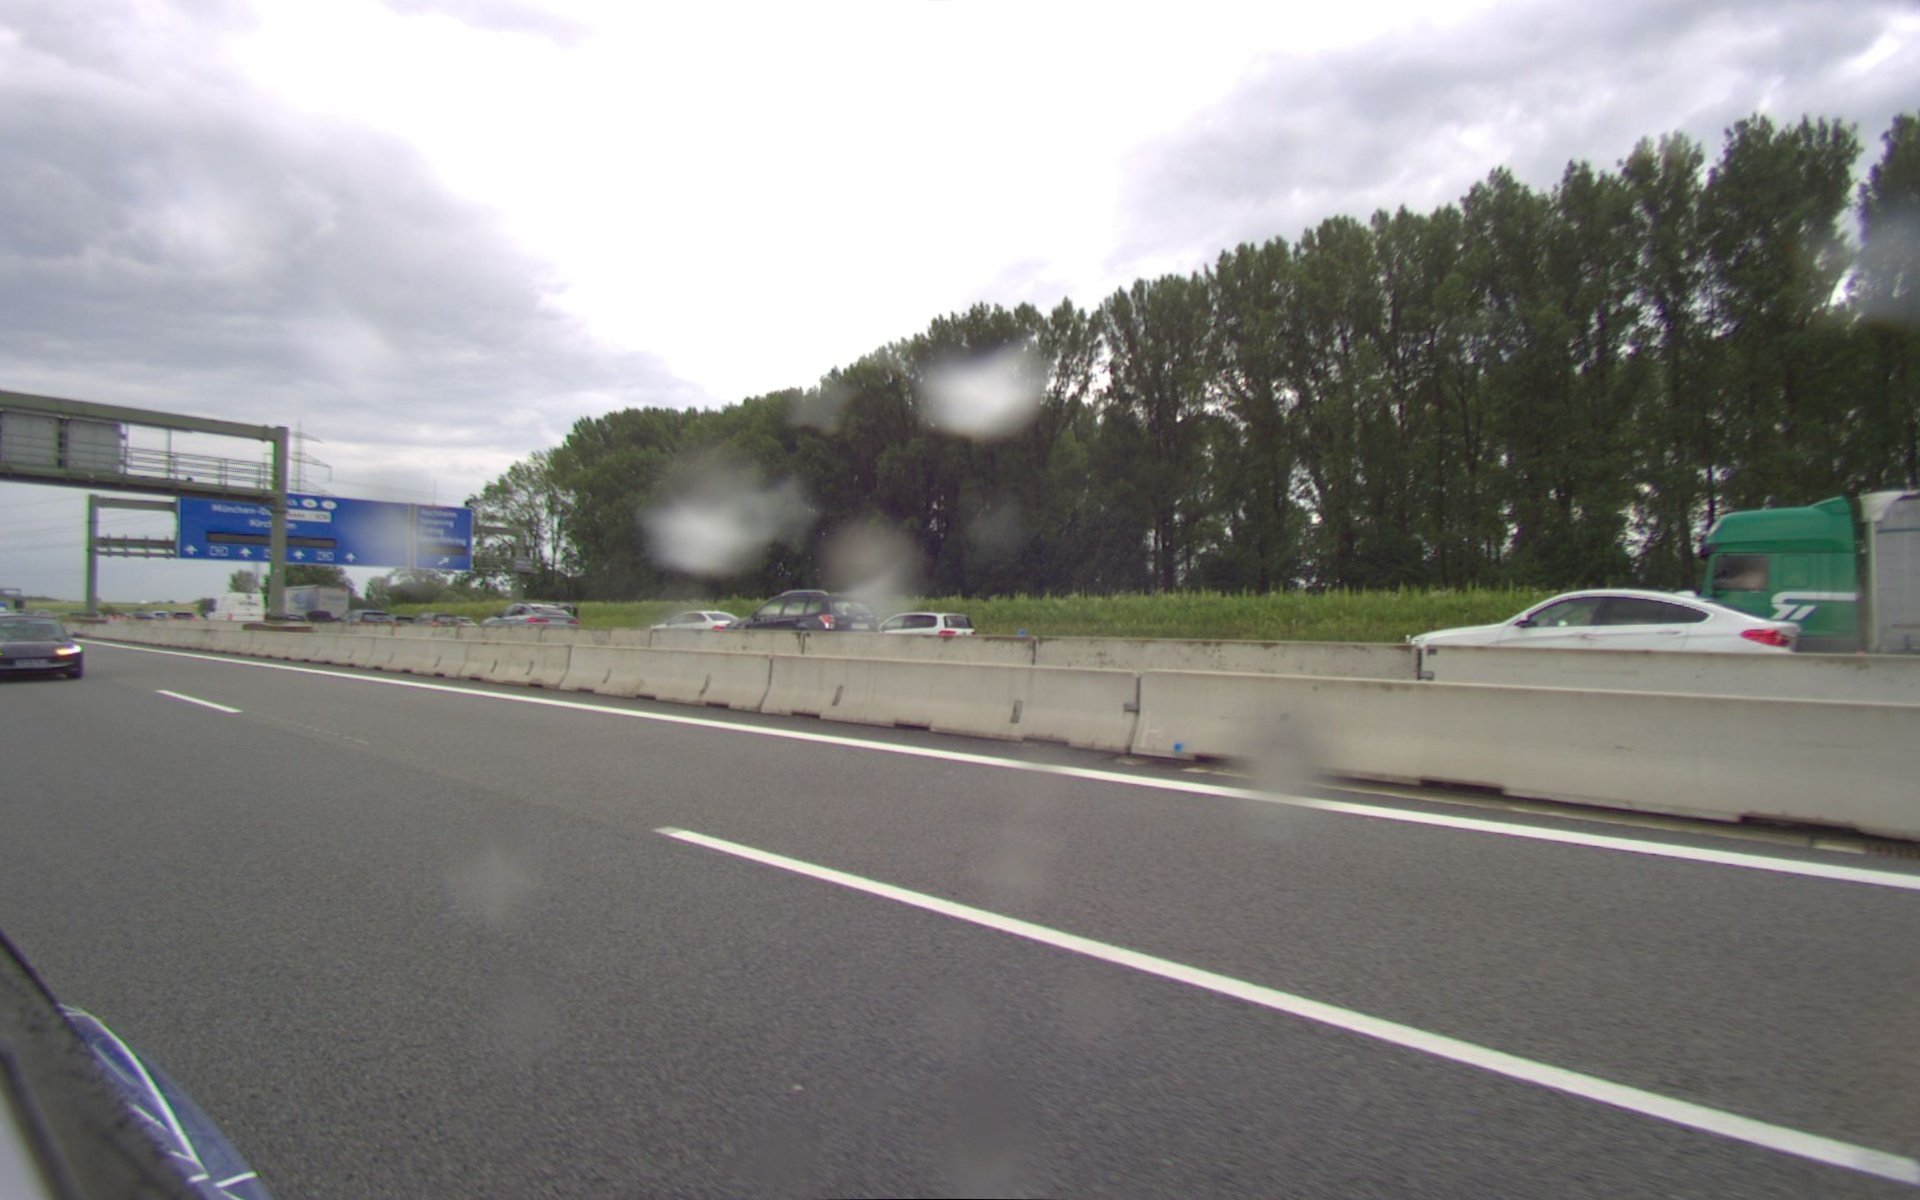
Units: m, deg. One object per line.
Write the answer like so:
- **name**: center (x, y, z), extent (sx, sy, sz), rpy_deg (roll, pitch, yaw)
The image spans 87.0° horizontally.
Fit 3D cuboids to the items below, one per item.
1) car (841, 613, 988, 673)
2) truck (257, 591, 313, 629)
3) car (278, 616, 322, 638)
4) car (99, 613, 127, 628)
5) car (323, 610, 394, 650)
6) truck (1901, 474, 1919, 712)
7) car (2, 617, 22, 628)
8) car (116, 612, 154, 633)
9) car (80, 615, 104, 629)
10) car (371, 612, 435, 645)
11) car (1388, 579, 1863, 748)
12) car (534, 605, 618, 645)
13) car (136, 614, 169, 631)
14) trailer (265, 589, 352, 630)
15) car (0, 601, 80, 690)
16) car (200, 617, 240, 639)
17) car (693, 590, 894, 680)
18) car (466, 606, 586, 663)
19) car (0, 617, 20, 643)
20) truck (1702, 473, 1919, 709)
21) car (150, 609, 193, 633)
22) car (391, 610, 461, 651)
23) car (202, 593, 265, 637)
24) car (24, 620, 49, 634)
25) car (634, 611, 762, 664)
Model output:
- **car**: center (-1.605, 1.405, 34.017), extent (5.078, 1.867, 1.972), rpy_deg (-1, -1, 43)
- **truck**: center (-65.119, 1.006, 97.575), extent (6.098, 3.534, 3.102), rpy_deg (-1, -1, 42)
- **car**: center (-51.752, 2.090, 79.329), extent (3.999, 1.719, 1.972), rpy_deg (-1, -1, 42)
- **car**: center (-100.278, 2.371, 119.760), extent (4.016, 1.740, 1.972), rpy_deg (-1, -1, 42)
- **car**: center (-28.997, 1.426, 48.745), extent (4.428, 1.807, 1.687), rpy_deg (-1, -1, 41)
- **truck**: center (23.567, -0.206, 15.027), extent (13.952, 4.345, 3.113), rpy_deg (-1, -1, 43)
- **car**: center (-145.828, 3.480, 155.718), extent (4.460, 1.674, 1.972), rpy_deg (-1, -1, 43)
- **car**: center (-71.003, 1.909, 87.069), extent (4.016, 1.740, 1.972), rpy_deg (-1, -1, 42)
- **car**: center (-111.882, 2.838, 130.428), extent (4.017, 1.740, 1.972), rpy_deg (-1, -1, 43)
- **car**: center (-36.295, 1.812, 65.842), extent (5.402, 2.029, 1.972), rpy_deg (-1, -1, 42)
- **car**: center (8.727, 0.752, 13.633), extent (5.078, 1.867, 1.972), rpy_deg (-1, -1, 43)
- **car**: center (-18.553, 1.191, 48.832), extent (4.968, 1.807, 1.687), rpy_deg (-1, -1, 41)
- **car**: center (-81.372, 2.253, 101.909), extent (4.016, 1.740, 1.972), rpy_deg (-1, -1, 42)
- **trailer**: center (-60.117, 0.886, 93.114), extent (14.448, 3.534, 3.076), rpy_deg (-1, -1, 42)
- **car**: center (-21.491, 0.980, 22.956), extent (1.971, 1.834, 5.165), rpy_deg (0, -1, -45)
- **car**: center (-61.950, 2.315, 84.702), extent (4.016, 1.740, 1.972), rpy_deg (-1, -1, 42)
- **car**: center (-4.049, 0.781, 23.973), extent (5.186, 1.912, 1.972), rpy_deg (-1, -1, 43)
- **car**: center (-15.560, 1.176, 36.136), extent (5.185, 1.900, 1.972), rpy_deg (-1, -1, 42)
- **car**: center (-60.218, 1.876, 63.317), extent (4.000, 1.586, 1.798), rpy_deg (-1, -1, 43)
- **truck**: center (18.408, -0.154, 19.817), extent (5.911, 4.314, 3.084), rpy_deg (-1, -1, 43)
- **car**: center (-58.396, 1.556, 74.922), extent (3.999, 1.670, 1.848), rpy_deg (-1, -1, 42)
- **car**: center (-28.099, 1.573, 53.240), extent (3.998, 2.029, 1.973), rpy_deg (-1, -1, 41)
- **car**: center (-46.109, 0.952, 64.182), extent (6.341, 2.636, 1.972), rpy_deg (-1, -1, 42)
- **car**: center (-121.070, 3.542, 132.636), extent (4.498, 1.710, 1.763), rpy_deg (-1, -1, 40)
- **car**: center (-9.268, 1.276, 35.604), extent (5.078, 1.717, 1.972), rpy_deg (-1, -1, 43)
